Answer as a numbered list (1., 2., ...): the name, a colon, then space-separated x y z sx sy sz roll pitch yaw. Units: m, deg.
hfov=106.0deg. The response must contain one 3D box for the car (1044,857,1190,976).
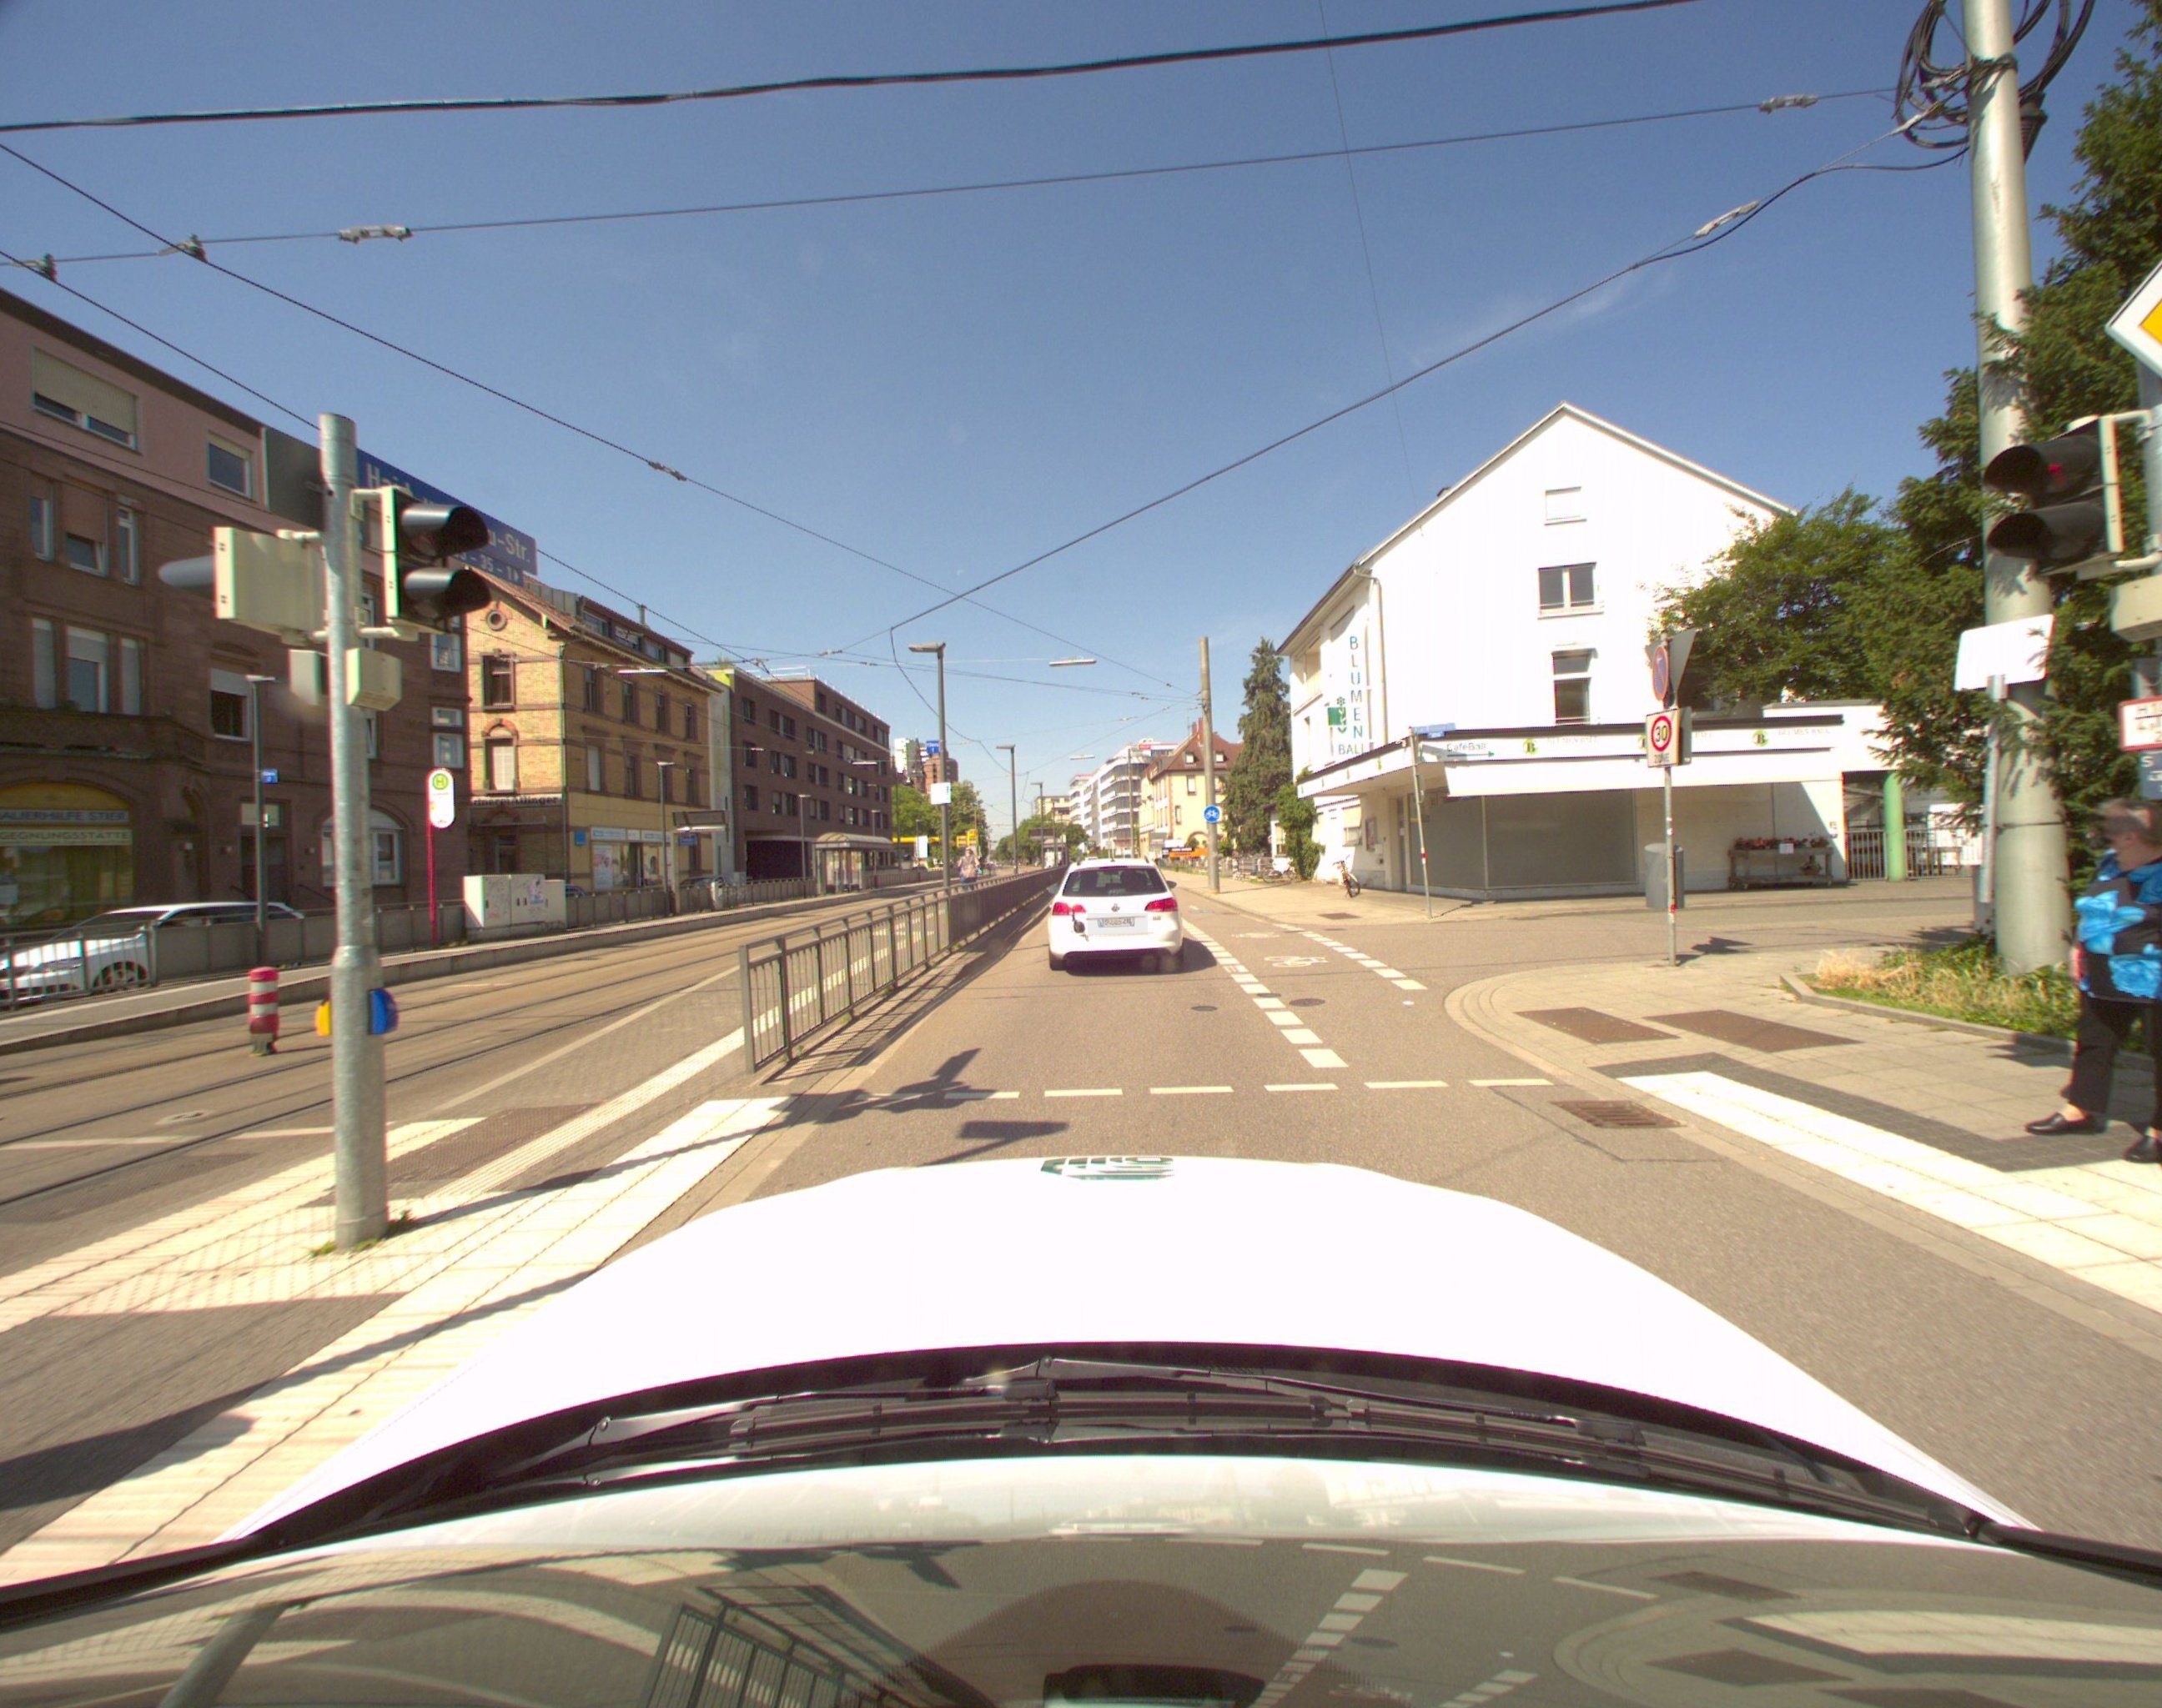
1. car: 0.478 0.763 11.722 1.746 1.418 3.854 0 0 1

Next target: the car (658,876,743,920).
1. car: -14.988 1.694 32.317 1.568 1.459 3.737 -3 0 0

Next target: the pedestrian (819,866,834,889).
1. pedestrian: -19.742 1.812 63.169 0.722 1.791 0.964 -3 0 1

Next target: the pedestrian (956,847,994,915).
1. pedestrian: -2.916 0.733 22.436 0.823 1.809 0.834 -3 -1 1

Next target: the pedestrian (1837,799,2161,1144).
1. pedestrian: 4.544 0.525 4.027 0.775 1.510 0.860 -3 -1 8

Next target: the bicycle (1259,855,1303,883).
1. bicycle: 8.462 0.628 34.544 1.705 1.130 0.526 -3 -1 2

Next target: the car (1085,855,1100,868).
1. car: 1.839 1.174 130.725 1.989 2.013 3.995 -3 0 -3

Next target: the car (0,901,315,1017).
1. car: -15.303 1.595 13.418 1.621 1.431 3.961 -1 -1 -1

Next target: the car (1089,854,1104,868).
1. car: 2.403 1.104 125.299 1.989 2.013 3.995 -3 0 -3

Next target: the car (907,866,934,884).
1. car: -14.452 1.857 73.501 1.568 1.459 3.737 -3 0 0

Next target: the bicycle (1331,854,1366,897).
1. bicycle: 7.619 0.589 23.247 0.720 1.139 2.203 -3 0 14

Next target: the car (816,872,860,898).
1. car: -15.187 1.909 51.071 1.568 1.459 3.934 -3 0 0

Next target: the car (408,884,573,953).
1. car: -15.207 1.599 21.240 1.569 1.459 3.811 -3 0 -2

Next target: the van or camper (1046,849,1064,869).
1. van or camper: -4.377 0.844 137.346 2.937 3.180 6.607 -3 0 -2
